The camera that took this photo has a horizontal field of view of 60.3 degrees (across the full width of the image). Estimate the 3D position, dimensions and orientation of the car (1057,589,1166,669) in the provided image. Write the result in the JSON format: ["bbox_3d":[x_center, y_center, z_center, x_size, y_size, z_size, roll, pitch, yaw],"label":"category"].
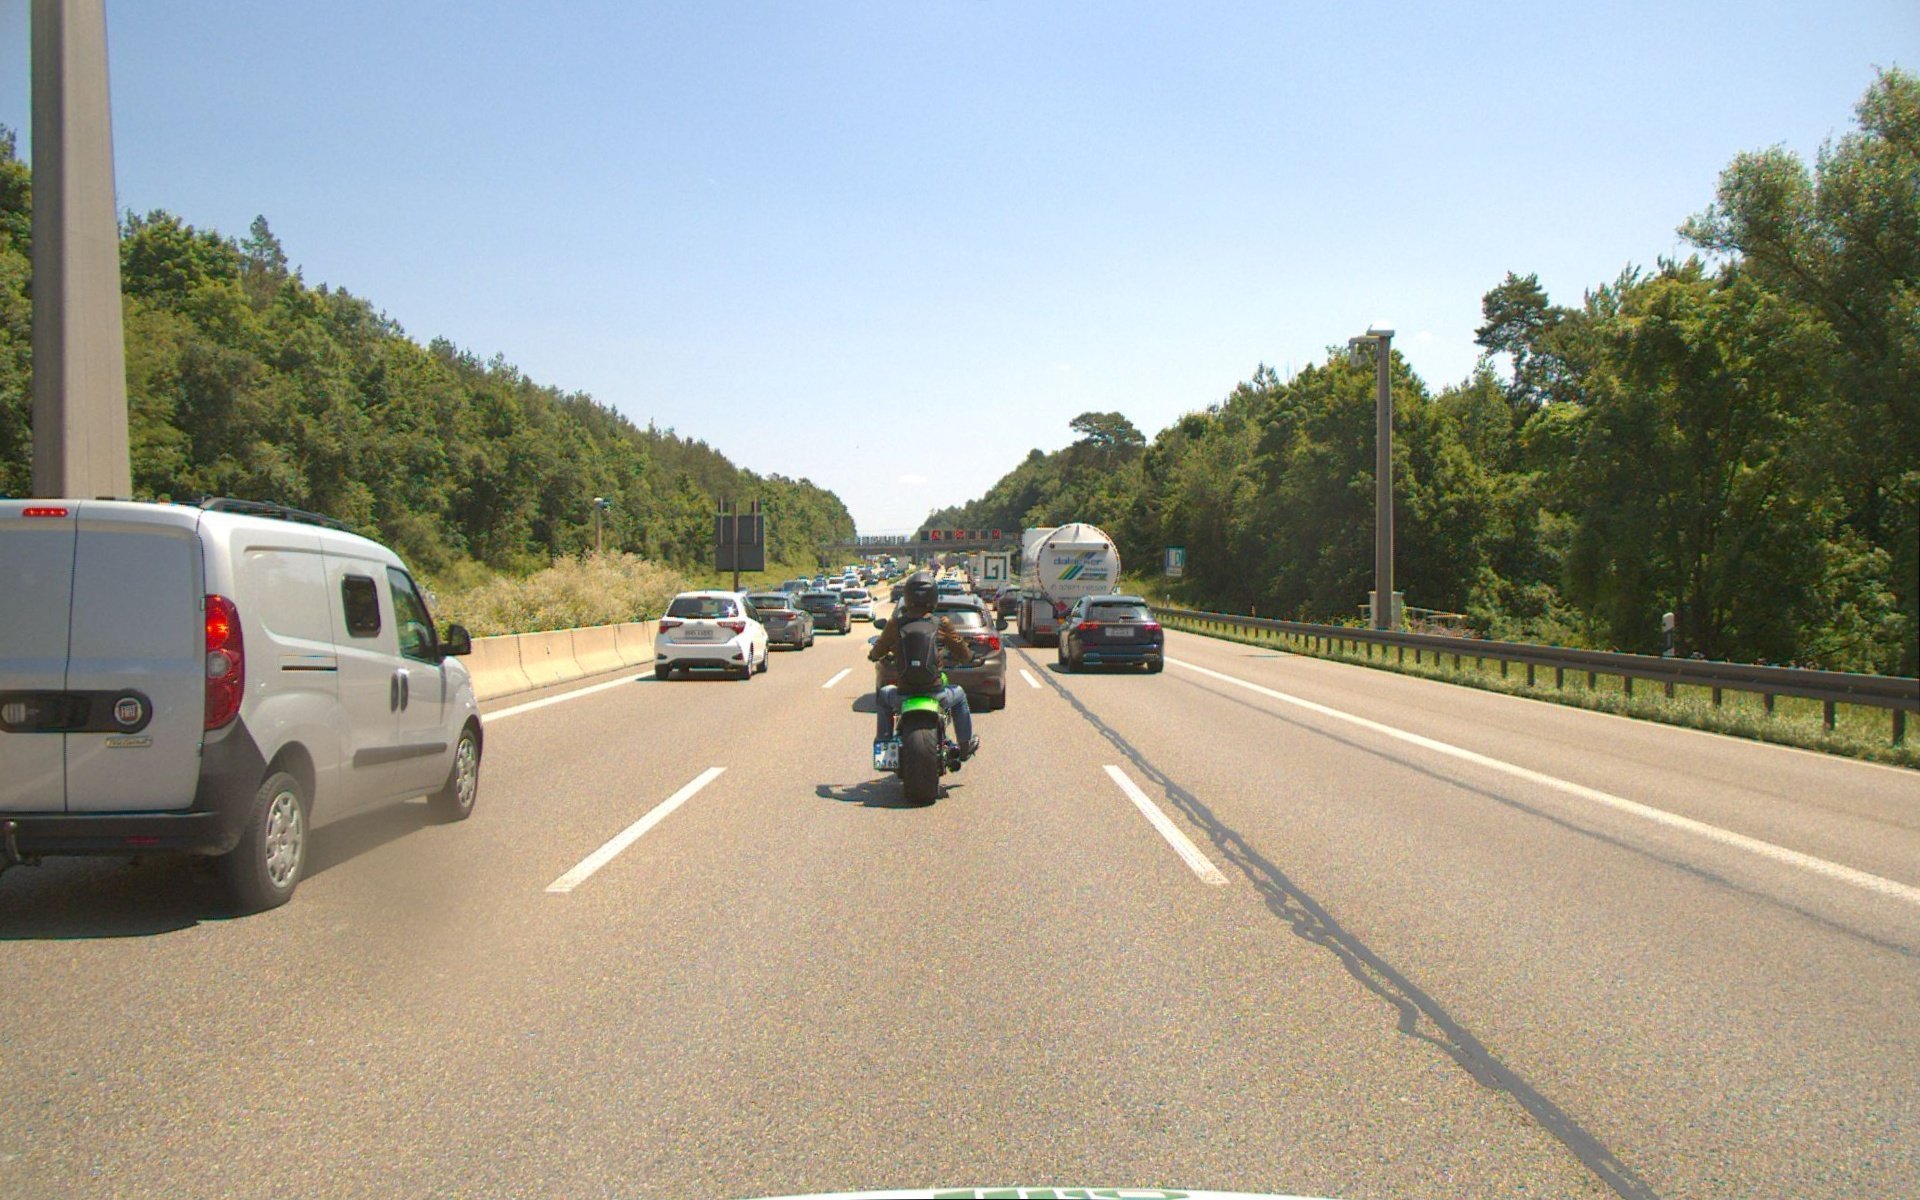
[{"bbox_3d":[2.983,0.593,33.426,1.755,1.484,4.623,1,-1,0],"label":"car"}]

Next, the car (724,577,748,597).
[{"bbox_3d":[-23.179,-1.323,171.393,1.953,2.049,3.999,1,0,-1],"label":"car"}]

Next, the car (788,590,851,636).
[{"bbox_3d":[-4.736,0.479,56.279,1.954,1.490,3.997,1,-1,-3],"label":"car"}]

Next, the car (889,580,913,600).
[{"bbox_3d":[-4.628,-0.777,130.505,1.728,1.467,4.000,2,0,0],"label":"car"}]

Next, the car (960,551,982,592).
[{"bbox_3d":[1.133,-2.916,173.856,2.123,3.961,9.328,1,-1,0],"label":"car"}]

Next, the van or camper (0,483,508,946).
[{"bbox_3d":[-4.022,0.459,9.139,1.815,1.913,4.561,1,0,-1],"label":"van or camper"}]

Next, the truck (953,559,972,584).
[{"bbox_3d":[0.333,-4.195,248.837,2.641,3.465,10.476,0,0,0],"label":"truck"}]

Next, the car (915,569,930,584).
[{"bbox_3d":[-5.133,-3.231,228.623,1.953,2.049,3.999,0,-1,0],"label":"car"}]

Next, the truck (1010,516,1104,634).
[{"bbox_3d":[3.200,-0.739,56.096,2.770,3.735,6.428,1,-1,0],"label":"truck"}]

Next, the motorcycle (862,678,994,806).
[{"bbox_3d":[-0.232,1.051,12.767,0.917,0.807,2.298,1,-1,0],"label":"motorcycle"}]

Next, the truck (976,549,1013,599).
[{"bbox_3d":[2.870,-2.078,135.824,2.794,3.888,7.189,1,-1,2],"label":"truck"}]

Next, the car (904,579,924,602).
[{"bbox_3d":[-4.089,-0.865,147.961,1.626,2.013,4.000,0,-1,0],"label":"car"}]

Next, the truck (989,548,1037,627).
[{"bbox_3d":[3.146,-0.737,100.946,2.340,4.542,10.866,0,0,-1],"label":"truck"}]

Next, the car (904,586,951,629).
[{"bbox_3d":[-1.430,0.345,72.702,1.953,1.806,3.999,1,-1,-1],"label":"car"}]

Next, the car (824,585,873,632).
[{"bbox_3d":[-4.995,0.402,74.702,1.953,2.049,3.999,1,-1,-1],"label":"car"}]

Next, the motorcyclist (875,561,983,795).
[{"bbox_3d":[-0.231,0.587,12.736,0.782,1.717,1.016,1,-1,-1],"label":"motorcyclist"}]

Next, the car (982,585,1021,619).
[{"bbox_3d":[1.992,0.123,80.248,1.739,1.554,3.999,1,-1,0],"label":"car"}]

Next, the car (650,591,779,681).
[{"bbox_3d":[-4.351,0.598,29.839,1.739,1.435,4.000,1,1,0],"label":"car"}]

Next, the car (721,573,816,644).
[{"bbox_3d":[-4.879,0.252,42.752,1.953,1.713,4.329,1,-1,0],"label":"car"}]

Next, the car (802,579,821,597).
[{"bbox_3d":[-15.779,-1.239,175.855,1.662,1.845,3.999,1,0,-1],"label":"car"}]

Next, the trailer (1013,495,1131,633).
[{"bbox_3d":[3.229,-0.866,50.481,2.770,3.735,10.730,1,-1,0],"label":"trailer"}]

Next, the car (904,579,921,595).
[{"bbox_3d":[-4.844,-1.326,170.515,1.626,1.627,4.000,0,-1,0],"label":"car"}]

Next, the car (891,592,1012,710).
[{"bbox_3d":[-0.115,0.658,22.954,1.509,1.476,3.999,1,0,0],"label":"car"}]

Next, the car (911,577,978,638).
[{"bbox_3d":[-0.489,0.262,50.129,1.953,1.741,3.999,1,-1,-1],"label":"car"}]
